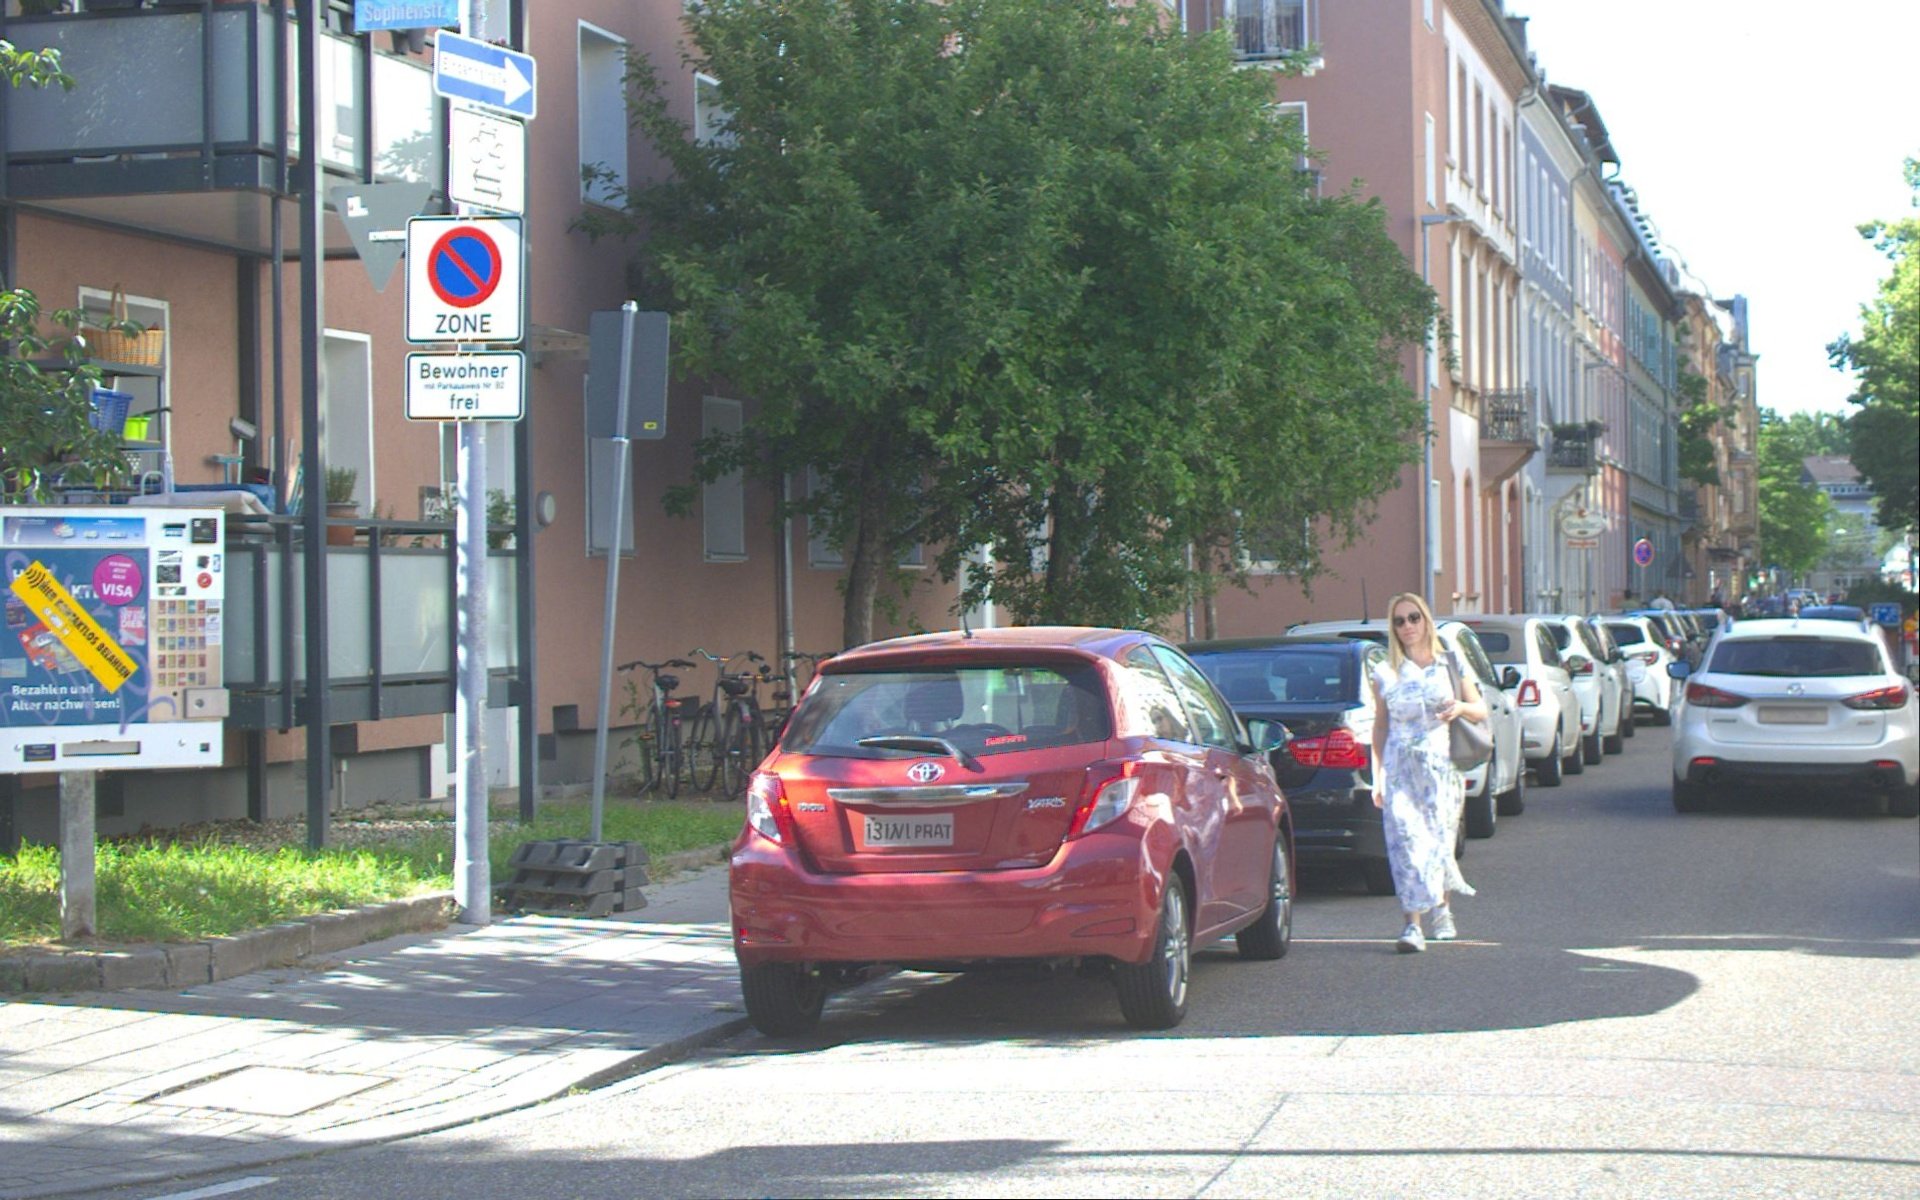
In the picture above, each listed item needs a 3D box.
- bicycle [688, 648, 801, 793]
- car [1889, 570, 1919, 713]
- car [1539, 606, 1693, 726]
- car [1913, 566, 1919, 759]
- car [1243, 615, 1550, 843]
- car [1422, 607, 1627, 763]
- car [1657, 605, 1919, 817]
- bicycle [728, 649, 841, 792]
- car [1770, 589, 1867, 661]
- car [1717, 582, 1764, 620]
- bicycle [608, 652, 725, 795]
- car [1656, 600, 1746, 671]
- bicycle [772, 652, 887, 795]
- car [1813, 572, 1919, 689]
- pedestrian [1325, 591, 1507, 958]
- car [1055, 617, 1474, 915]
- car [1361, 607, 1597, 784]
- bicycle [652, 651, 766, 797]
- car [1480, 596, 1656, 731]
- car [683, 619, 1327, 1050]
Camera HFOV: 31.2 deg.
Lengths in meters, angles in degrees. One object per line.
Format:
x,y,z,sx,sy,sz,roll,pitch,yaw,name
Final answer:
-1.653,0.908,26.241,0.252,1.067,1.216,-1,0,-35,bicycle
13.626,0.503,46.552,1.896,1.853,3.991,-2,0,16,car
8.692,0.849,45.393,1.654,1.495,3.760,-1,0,16,car
10.644,0.586,34.777,1.896,1.853,3.991,-1,0,16,car
3.246,0.875,25.020,1.654,1.495,3.760,-1,0,16,car
5.844,0.834,35.308,1.654,1.495,3.760,-1,0,16,car
6.474,0.798,26.562,1.832,1.452,3.959,-1,0,16,car
-1.356,0.914,26.429,0.252,1.068,1.216,-1,0,-35,bicycle
17.599,0.492,70.382,1.762,1.405,4.324,-1,0,16,car
31.488,0.050,138.653,1.654,1.495,3.760,-1,0,16,car
-2.211,0.915,25.839,0.290,1.032,1.216,-1,0,-35,bicycle
16.260,0.767,75.341,1.654,1.495,3.760,-1,0,16,car
-1.015,0.939,26.492,0.252,1.068,1.219,-1,0,-35,bicycle
15.083,0.478,56.519,1.896,1.853,3.991,-1,0,16,car
2.055,0.772,15.579,0.733,1.609,0.816,-1,0,4,pedestrian
1.860,0.869,19.801,1.654,1.495,4.076,-1,0,16,car
4.792,0.823,31.405,1.654,1.495,3.760,-1,0,16,car
-1.909,0.925,26.042,0.265,1.068,1.216,-1,0,-35,bicycle
7.187,0.716,40.419,1.654,1.495,3.760,-1,0,16,car
0.335,0.866,14.225,1.686,1.495,3.804,-2,0,16,car
